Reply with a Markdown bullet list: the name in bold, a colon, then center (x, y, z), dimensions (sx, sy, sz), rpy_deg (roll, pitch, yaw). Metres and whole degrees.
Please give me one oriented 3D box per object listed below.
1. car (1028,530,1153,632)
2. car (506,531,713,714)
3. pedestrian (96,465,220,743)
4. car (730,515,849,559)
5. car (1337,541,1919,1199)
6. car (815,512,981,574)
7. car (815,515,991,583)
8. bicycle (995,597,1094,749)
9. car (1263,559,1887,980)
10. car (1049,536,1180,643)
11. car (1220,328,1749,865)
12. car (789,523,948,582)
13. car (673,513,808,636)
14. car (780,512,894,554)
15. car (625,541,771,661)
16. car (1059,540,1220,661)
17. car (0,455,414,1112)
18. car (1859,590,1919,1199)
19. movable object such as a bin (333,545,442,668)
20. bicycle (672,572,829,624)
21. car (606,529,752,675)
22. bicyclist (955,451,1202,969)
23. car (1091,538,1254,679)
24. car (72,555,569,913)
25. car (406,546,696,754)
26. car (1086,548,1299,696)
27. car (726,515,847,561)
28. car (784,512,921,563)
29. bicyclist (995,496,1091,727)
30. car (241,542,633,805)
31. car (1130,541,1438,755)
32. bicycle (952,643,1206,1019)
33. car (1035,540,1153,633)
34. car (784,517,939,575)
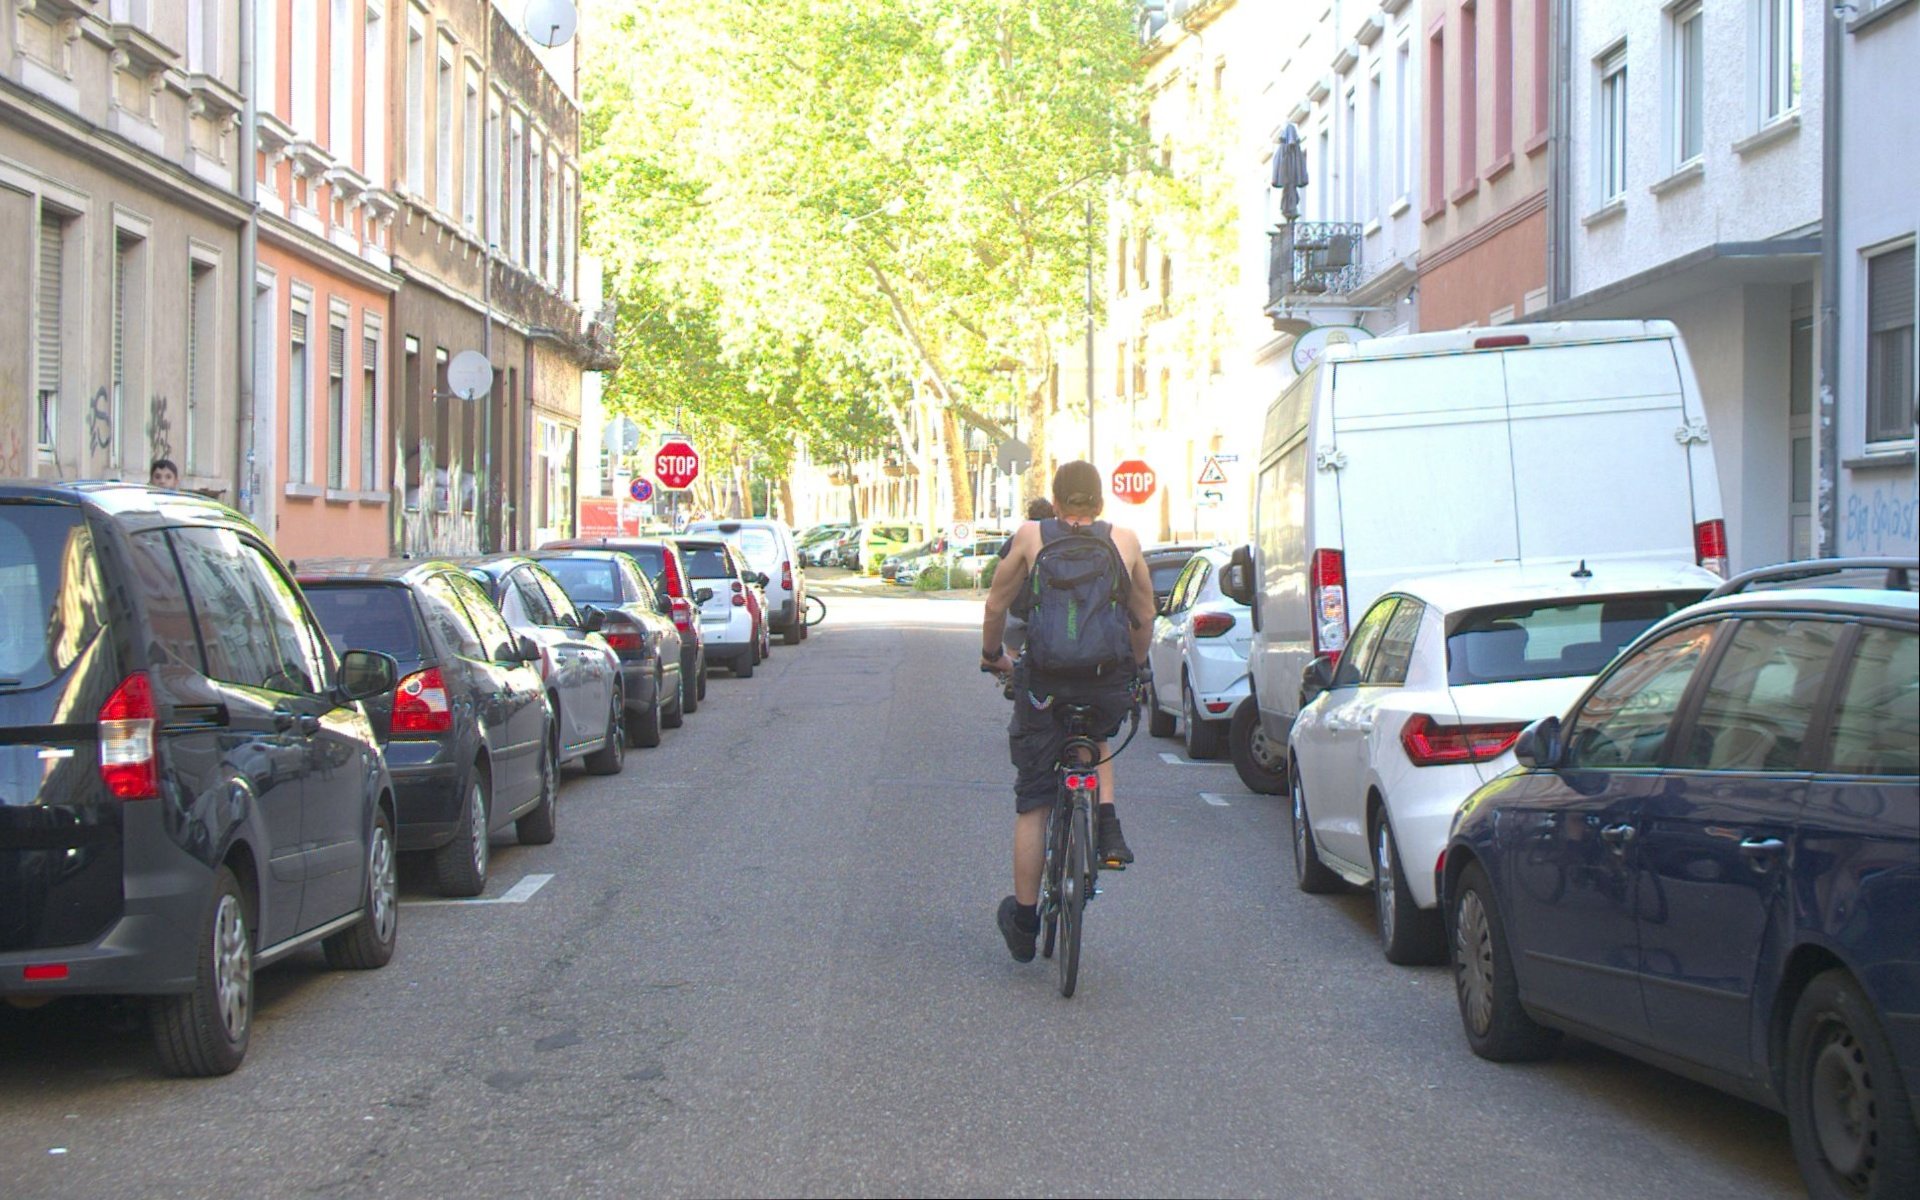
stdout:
- **car**: center (2.305, -0.378, 61.596), dimensions (1.893, 1.763, 4.001), rpy_deg (0, 1, -3)
- **car**: center (-3.099, 0.156, 30.905), dimensions (1.604, 1.525, 3.379), rpy_deg (-1, 1, -2)
- **pedestrian**: center (-5.483, 0.019, 23.531), dimensions (0.610, 1.851, 0.754), rpy_deg (2, 1, -1)
- **car**: center (-6.498, -2.403, 130.867), dimensions (4.468, 1.690, 1.867), rpy_deg (0, 1, -4)
- **car**: center (2.530, 0.651, 8.970), dimensions (1.811, 1.473, 4.610), rpy_deg (-3, 2, -10)
- **car**: center (-1.726, -1.581, 94.563), dimensions (4.468, 1.690, 1.867), rpy_deg (0, 1, -4)
- **car**: center (-1.506, -1.338, 89.817), dimensions (4.468, 1.753, 1.867), rpy_deg (0, 1, -4)
- **bicycle**: center (0.603, 0.511, 25.164), dimensions (0.664, 1.034, 1.959), rpy_deg (0, 1, 0)
- **car**: center (2.310, 0.567, 13.885), dimensions (1.725, 1.424, 3.833), rpy_deg (0, 1, -2)
- **car**: center (2.270, -0.188, 51.216), dimensions (1.652, 1.525, 3.575), rpy_deg (0, 1, -2)
- **car**: center (2.712, -0.080, 19.317), dimensions (2.204, 2.542, 6.036), rpy_deg (0, 1, 2)
- **car**: center (-2.649, -1.368, 98.903), dimensions (4.468, 1.690, 1.867), rpy_deg (0, 1, -4)
- **car**: center (-3.189, -0.397, 50.477), dimensions (1.787, 1.731, 3.876), rpy_deg (0, 1, -1)
- **car**: center (-4.908, -2.669, 136.805), dimensions (4.468, 1.690, 1.867), rpy_deg (0, 1, -4)
- **car**: center (-3.163, -0.022, 42.044), dimensions (1.552, 1.395, 3.668), rpy_deg (0, 1, -1)
- **car**: center (2.255, -0.034, 44.109), dimensions (1.710, 1.465, 4.001), rpy_deg (0, 1, -2)
- **car**: center (-2.973, 0.464, 10.931), dimensions (1.801, 1.692, 4.000), rpy_deg (-2, 1, 0)
- **car**: center (2.511, 0.767, 4.050), dimensions (1.746, 1.480, 4.243), rpy_deg (0, 1, -1)
- **movable object such as a bin**: center (-5.579, 0.055, 33.532), dimensions (0.834, 1.122, 0.716), rpy_deg (-4, 1, 2)
- **bicycle**: center (-3.651, -0.034, 59.960), dimensions (2.715, 0.889, 0.619), rpy_deg (0, 1, -3)
- **car**: center (-3.091, -0.012, 38.279), dimensions (1.544, 1.545, 3.466), rpy_deg (0, 1, -3)
- **bicyclist**: center (0.387, 0.351, 11.825), dimensions (0.740, 1.673, 1.117), rpy_deg (2, 1, -1)
- **car**: center (2.338, 0.058, 38.652), dimensions (1.592, 1.487, 3.876), rpy_deg (0, 1, 0)
- **car**: center (-2.826, 0.527, 15.912), dimensions (1.592, 1.435, 3.654), rpy_deg (0, 1, 0)
- **car**: center (-2.998, 0.313, 25.947), dimensions (1.706, 1.409, 4.302), rpy_deg (0, 1, 0)
- **car**: center (2.209, 0.175, 33.561), dimensions (1.657, 1.334, 4.001), rpy_deg (0, 1, -2)
- **car**: center (-6.483, -2.321, 128.501), dimensions (4.468, 1.690, 1.867), rpy_deg (0, 1, -4)
- **car**: center (-3.603, -2.095, 114.704), dimensions (4.468, 1.690, 1.867), rpy_deg (0, 1, -4)
- **bicyclist**: center (0.598, 0.074, 25.070), dimensions (0.669, 1.653, 0.877), rpy_deg (0, 1, 0)
- **car**: center (-3.069, 0.372, 20.887), dimensions (1.674, 1.425, 3.888), rpy_deg (0, 1, 2)
- **car**: center (2.349, 0.299, 25.856), dimensions (1.731, 1.465, 4.022), rpy_deg (0, 1, -3)
- **bicycle**: center (0.372, 0.743, 11.876), dimensions (0.740, 1.097, 2.042), rpy_deg (2, 1, -1)
- **car**: center (2.181, -0.250, 56.791), dimensions (1.686, 1.466, 3.575), rpy_deg (0, 1, -2)
- **car**: center (-2.923, -1.596, 101.317), dimensions (4.468, 1.690, 1.867), rpy_deg (0, 1, -4)
